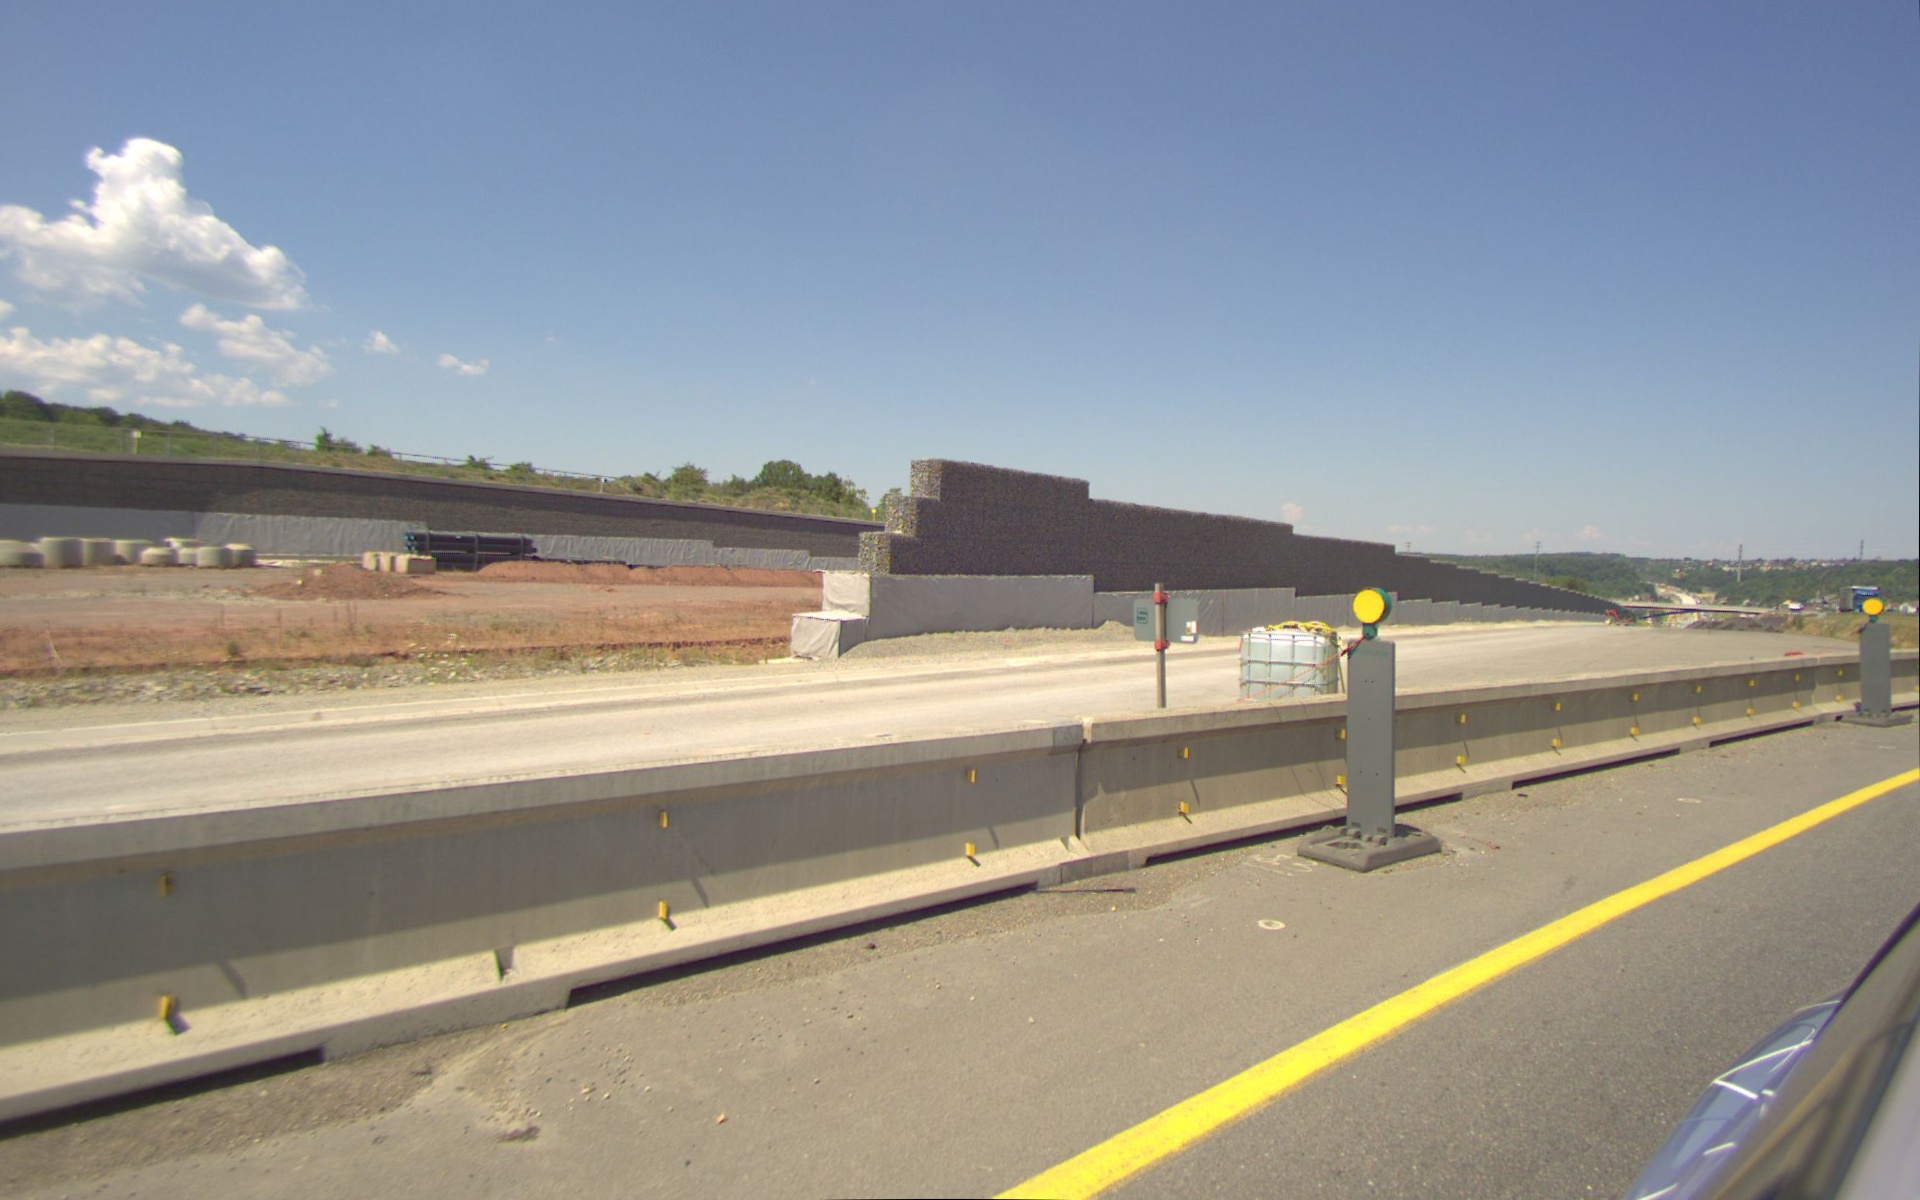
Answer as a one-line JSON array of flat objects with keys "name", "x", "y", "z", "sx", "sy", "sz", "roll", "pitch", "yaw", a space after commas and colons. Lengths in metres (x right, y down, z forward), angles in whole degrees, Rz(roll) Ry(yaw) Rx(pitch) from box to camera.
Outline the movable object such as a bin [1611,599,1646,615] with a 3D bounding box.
[{"name": "movable object such as a bin", "x": 101.763, "y": 1.023, "z": 154.112, "sx": 4.067, "sy": 2.174, "sz": 1.758, "roll": 2, "pitch": 2, "yaw": 10}]
